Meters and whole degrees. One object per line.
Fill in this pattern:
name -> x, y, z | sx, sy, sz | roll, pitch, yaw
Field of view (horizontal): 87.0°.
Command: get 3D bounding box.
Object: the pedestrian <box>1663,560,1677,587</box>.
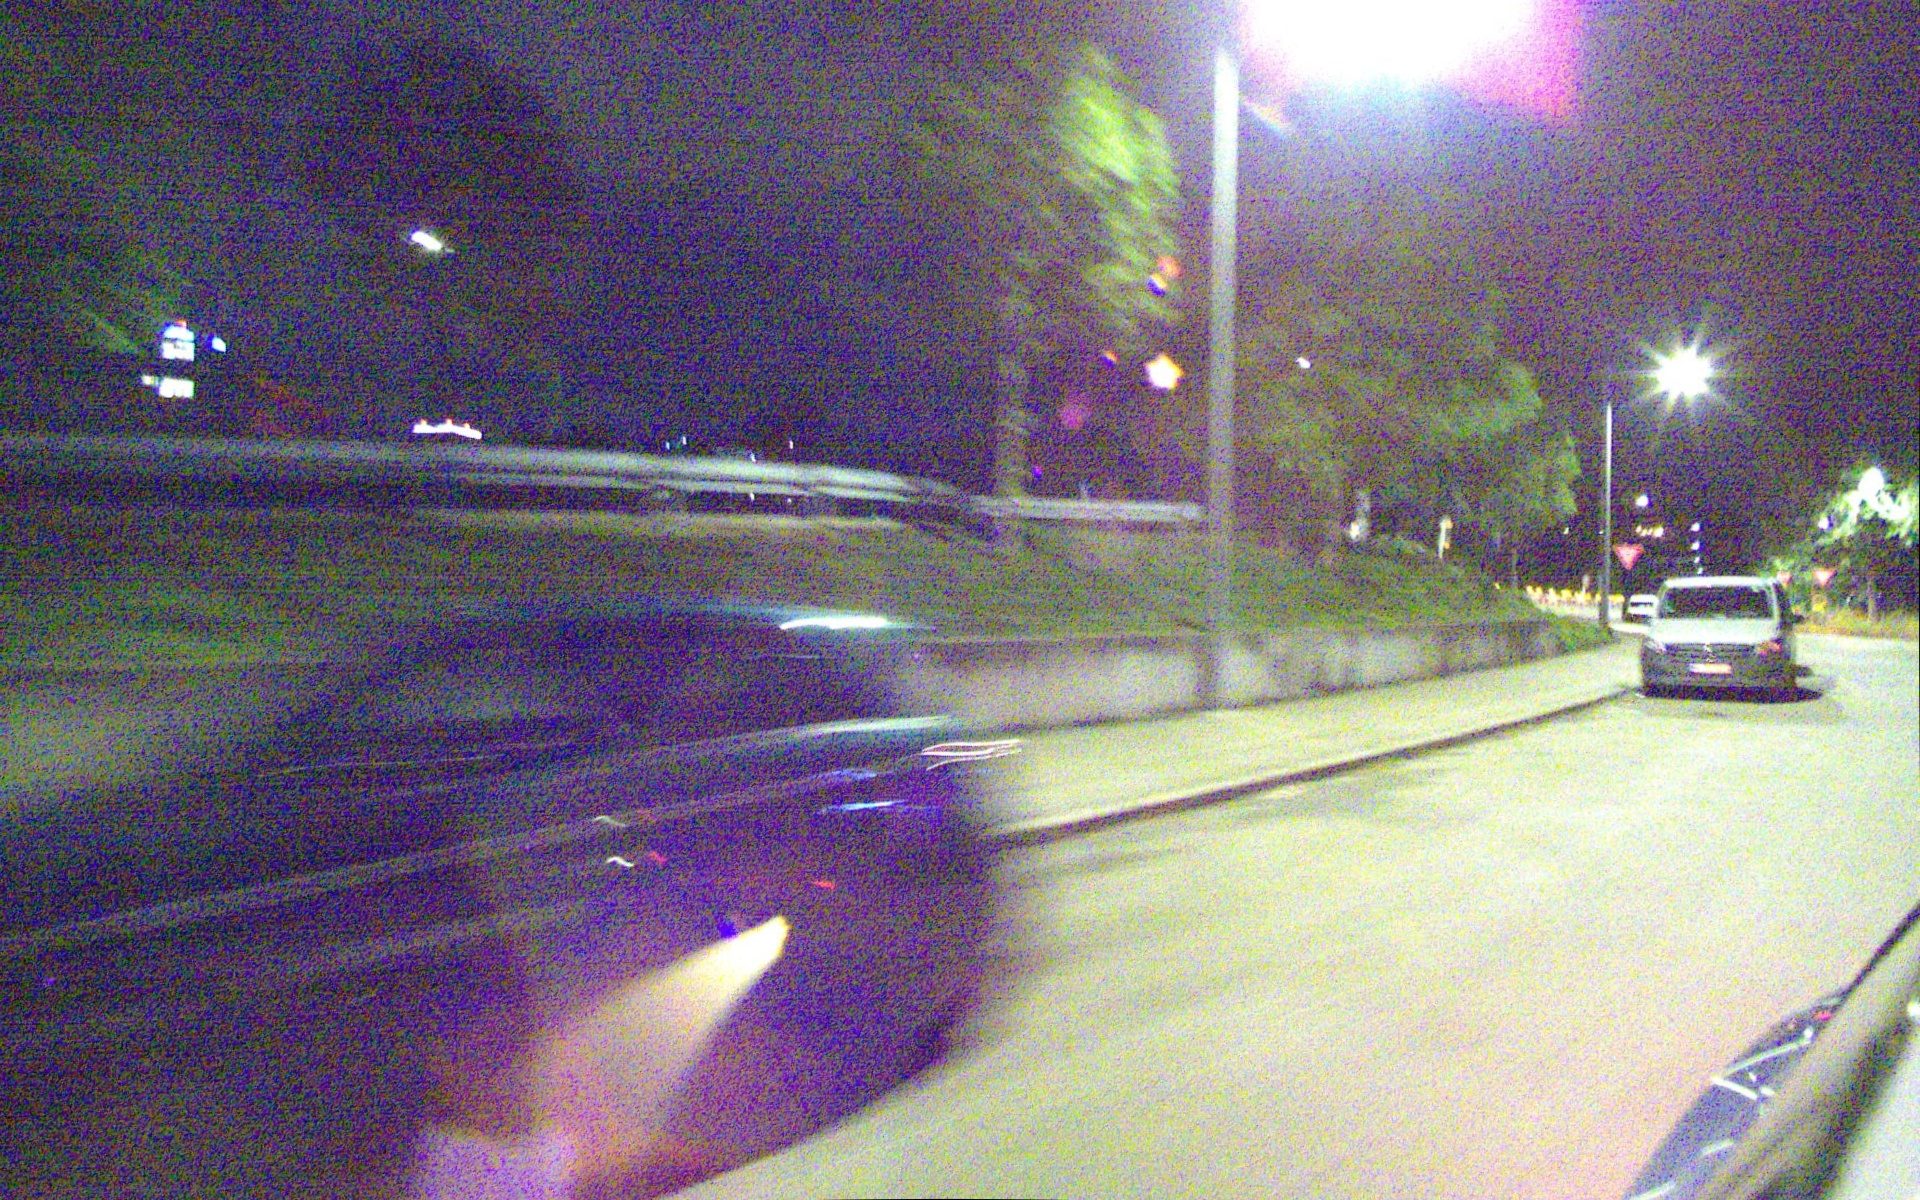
pedestrian -> 126.852, -4.808, 180.823 | 1.736, 4.766, 2.270 | 1, 1, 39

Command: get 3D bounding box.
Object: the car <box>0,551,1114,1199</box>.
car -> -1.339, 0.684, 3.310 | 3.759, 1.531, 1.610 | 0, -1, -42

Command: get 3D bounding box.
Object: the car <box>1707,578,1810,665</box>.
car -> 18.300, 0.431, 23.228 | 1.726, 1.802, 4.257 | 0, 0, 38

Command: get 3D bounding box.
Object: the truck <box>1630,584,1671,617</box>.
truck -> 58.285, 0.049, 85.366 | 2.396, 2.602, 6.316 | 2, 2, 39

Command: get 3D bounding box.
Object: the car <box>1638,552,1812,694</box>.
car -> 13.082, 0.336, 17.163 | 1.991, 2.039, 5.275 | -1, -1, 41

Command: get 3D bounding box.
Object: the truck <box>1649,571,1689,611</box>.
truck -> 69.851, -0.899, 99.701 | 3.040, 3.668, 9.477 | 2, 1, 35

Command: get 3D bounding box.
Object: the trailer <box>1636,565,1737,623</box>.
trailer -> 27.432, -0.239, 38.398 | 1.474, 2.039, 4.960 | 1, 1, 16
